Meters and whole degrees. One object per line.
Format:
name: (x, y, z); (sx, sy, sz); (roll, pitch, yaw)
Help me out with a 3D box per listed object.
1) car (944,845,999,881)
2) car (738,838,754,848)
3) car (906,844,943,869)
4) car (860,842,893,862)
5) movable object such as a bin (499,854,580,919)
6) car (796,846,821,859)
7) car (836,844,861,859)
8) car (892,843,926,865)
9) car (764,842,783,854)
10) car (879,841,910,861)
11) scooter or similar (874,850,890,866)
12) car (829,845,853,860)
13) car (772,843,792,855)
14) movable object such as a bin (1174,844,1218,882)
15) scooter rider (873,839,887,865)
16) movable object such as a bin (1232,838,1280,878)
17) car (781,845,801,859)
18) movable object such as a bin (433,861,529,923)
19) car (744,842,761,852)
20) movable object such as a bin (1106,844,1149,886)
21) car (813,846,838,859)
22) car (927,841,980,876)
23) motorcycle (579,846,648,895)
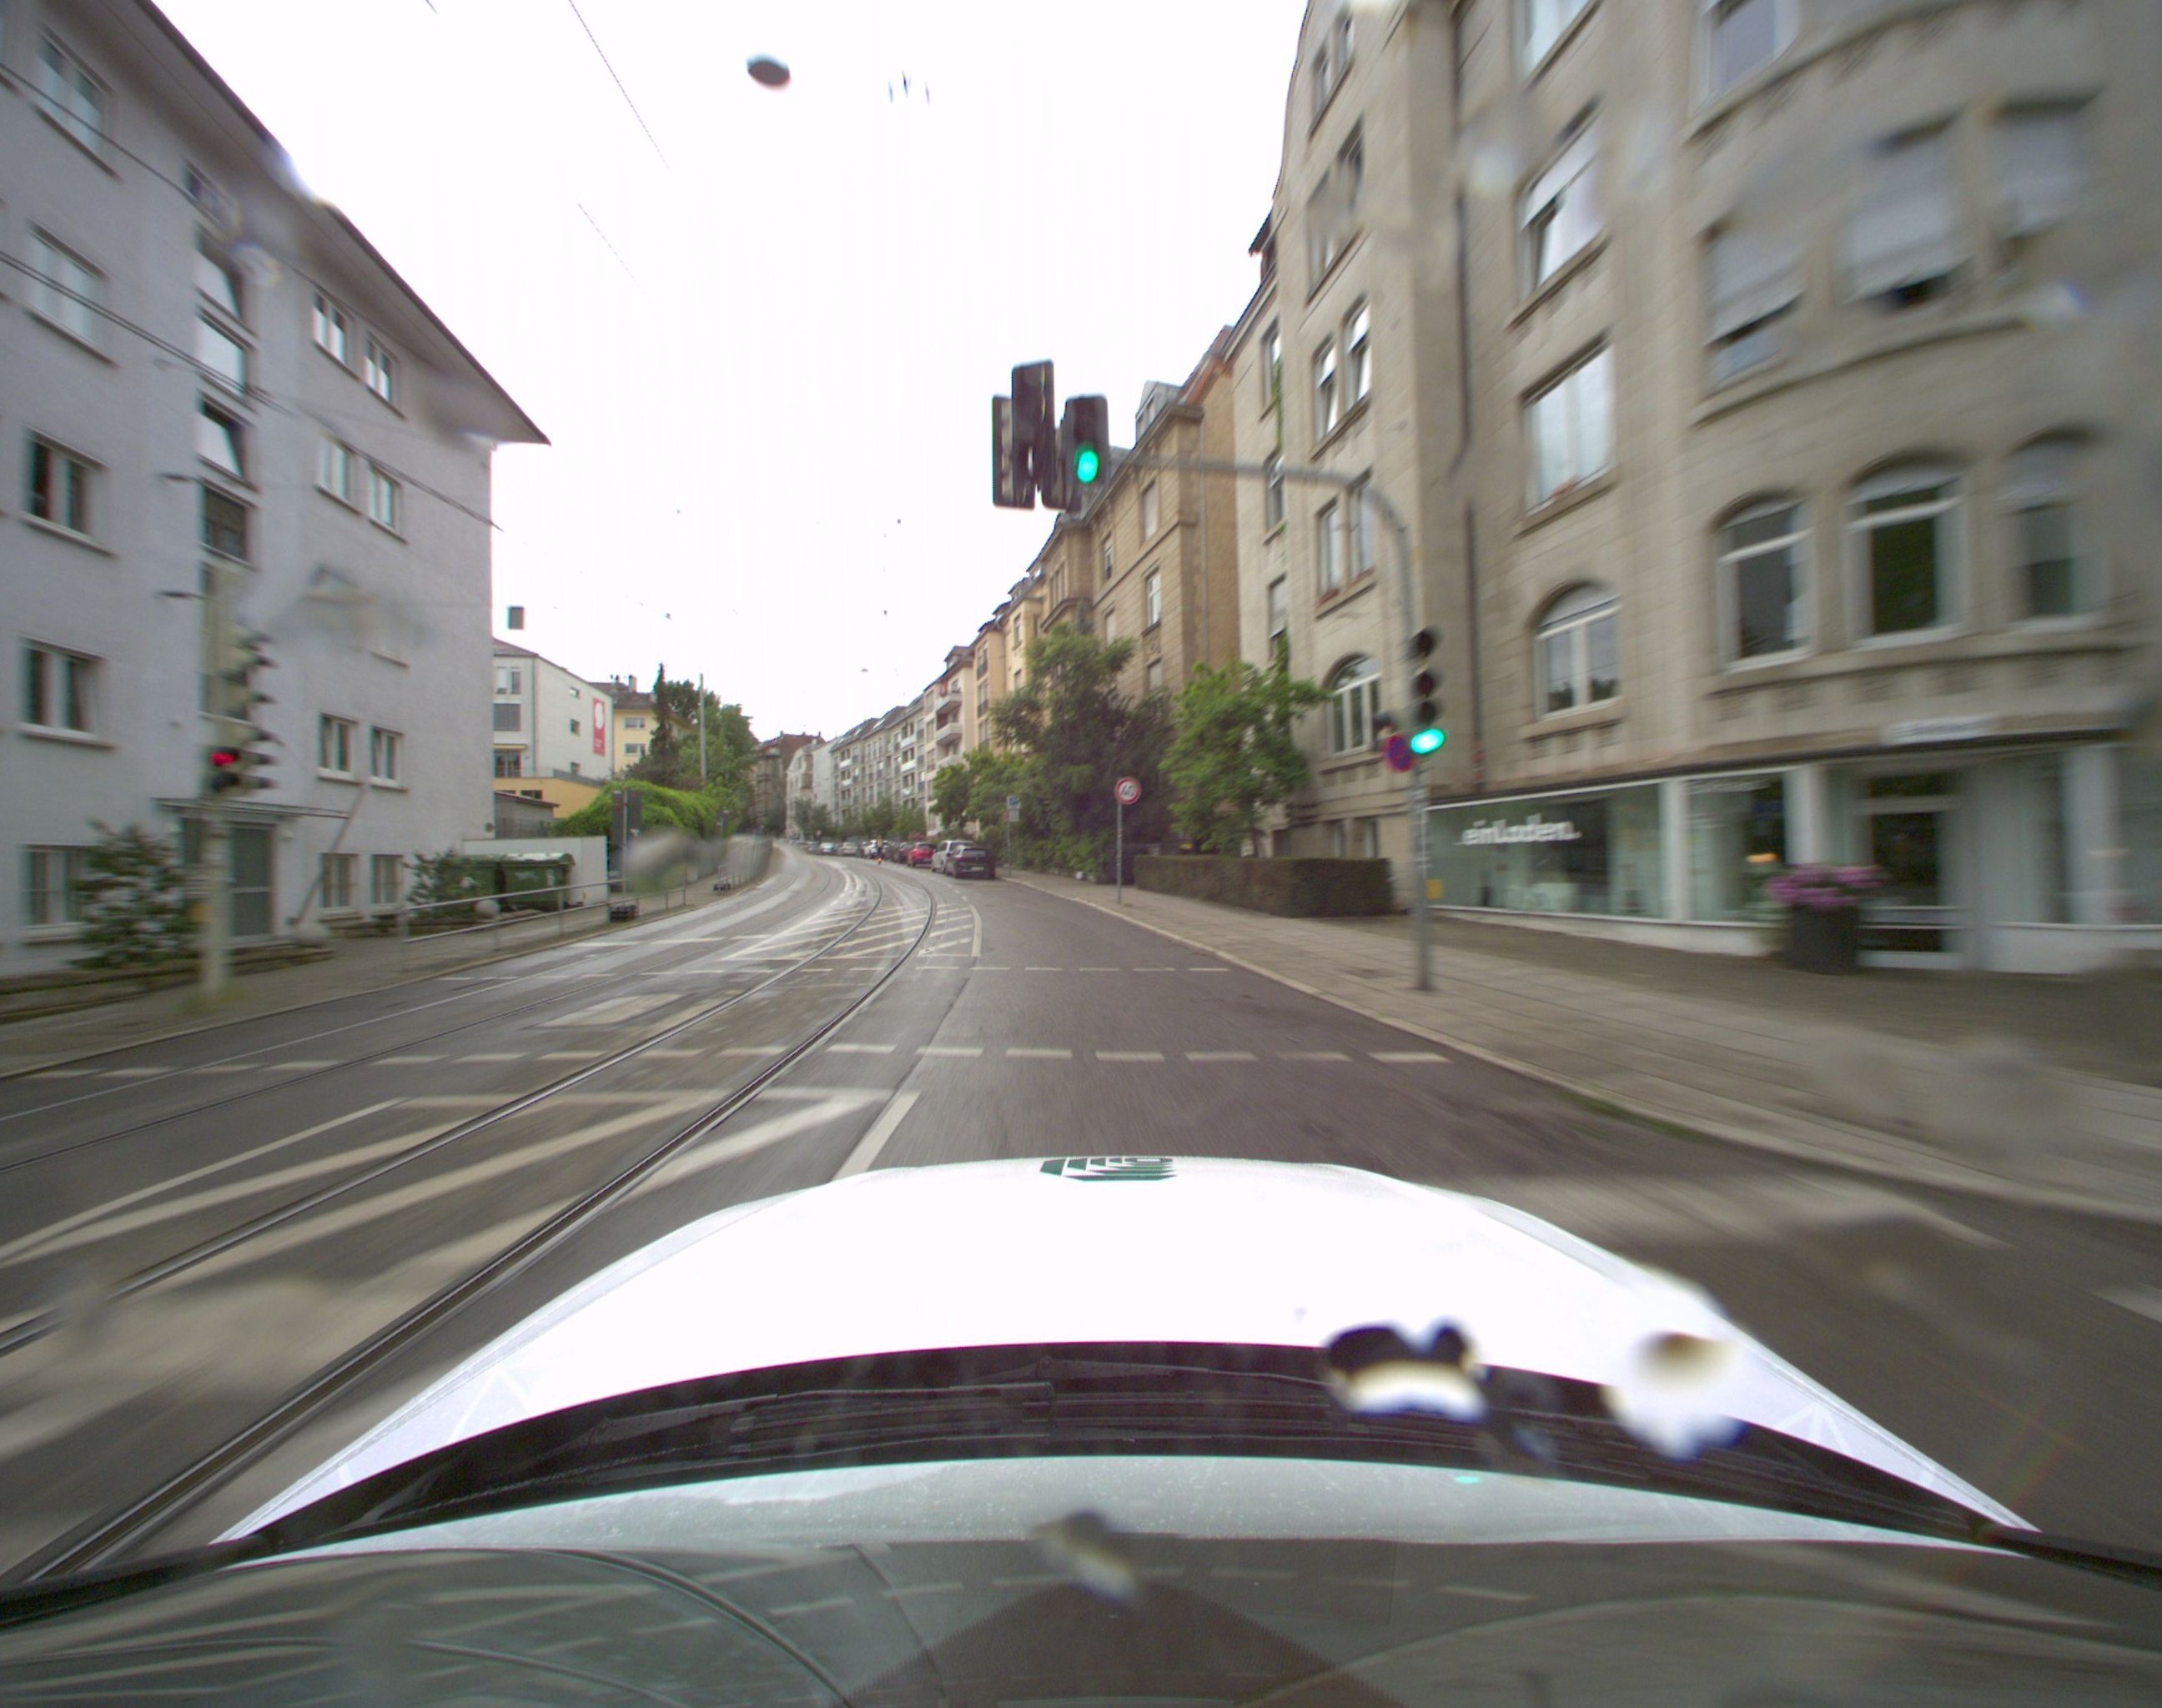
car: (-4.907, 0.372, 36.049); (1.770, 1.390, 3.978); (0, 2, -17)
car: (-56.738, -1.890, 137.749); (1.662, 1.535, 3.847); (-4, 4, -35)
car: (-9.423, 0.130, 48.863); (1.727, 1.437, 3.817); (0, 1, -19)
car: (-17.505, -0.197, 69.601); (1.846, 1.573, 4.213); (2, 0, -25)
movable object such as a bin: (-13.372, 0.775, 20.168); (1.185, 1.461, 1.286); (-3, 3, -10)
car: (-34.536, -0.204, 103.256); (1.780, 1.615, 4.201); (-1, 1, -36)
car: (-24.085, -0.255, 84.283); (1.670, 1.471, 4.469); (1, 0, -26)
car: (-11.911, -0.013, 56.238); (1.690, 1.437, 4.035); (0, 1, -22)
car: (-46.212, -0.952, 122.206); (1.779, 1.684, 4.204); (1, 1, -34)
car: (-14.143, -0.260, 61.649); (1.563, 1.437, 4.270); (0, 1, -23)
scooter or similar: (-13.343, 0.261, 54.470); (0.516, 1.049, 1.990); (2, 0, -28)
car: (-26.058, -0.153, 88.325); (1.711, 1.512, 3.680); (1, 1, -28)
car: (-43.412, -0.762, 118.287); (1.779, 1.684, 4.203); (1, 1, -35)
movable object such as a bin: (4.212, 0.304, 29.879); (1.220, 1.308, 1.161); (-3, 1, -17)
scooter rider: (-13.394, -0.161, 54.190); (0.626, 1.705, 0.836); (2, 0, -29)
movable object such as a bin: (6.549, 0.134, 30.539); (1.233, 1.424, 1.300); (-3, 1, -17)
car: (-40.196, -0.285, 112.720); (1.778, 1.787, 4.206); (1, 1, -32)
movable object such as a bin: (-14.651, 0.903, 19.948); (1.369, 1.336, 1.321); (-3, 3, -11)
car: (-53.874, -1.210, 133.538); (1.779, 1.518, 4.096); (1, 1, -34)
movable object such as a bin: (1.648, 0.377, 28.827); (1.231, 1.402, 0.816); (-3, 3, -24)
car: (-29.771, -0.220, 94.827); (1.773, 1.434, 4.594); (-1, 1, -30)
car: (-6.463, 0.173, 40.903); (1.772, 1.603, 4.258); (-2, 1, -21)
motorcycle: (-16.259, 0.557, 28.367); (1.925, 1.600, 0.593); (-3, 3, -15)
